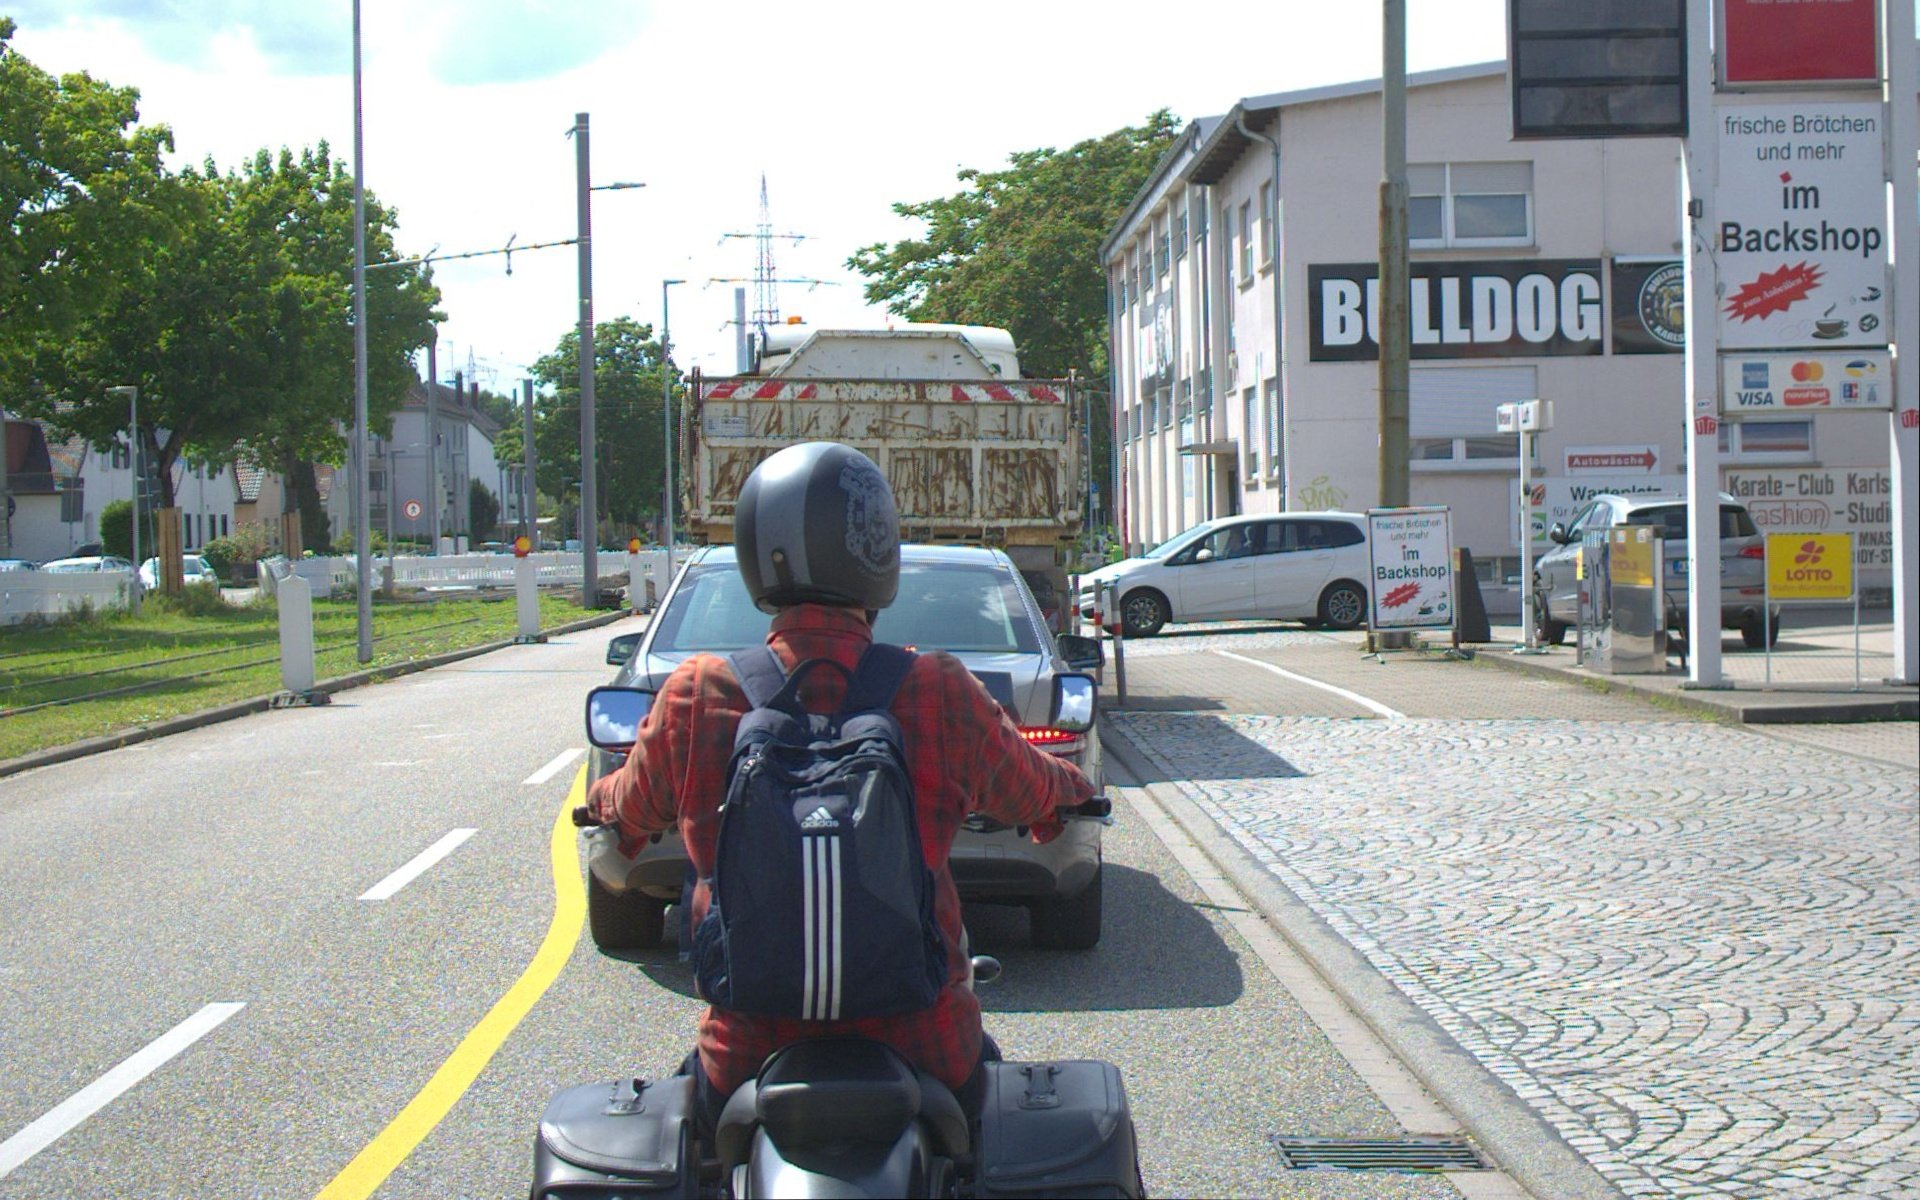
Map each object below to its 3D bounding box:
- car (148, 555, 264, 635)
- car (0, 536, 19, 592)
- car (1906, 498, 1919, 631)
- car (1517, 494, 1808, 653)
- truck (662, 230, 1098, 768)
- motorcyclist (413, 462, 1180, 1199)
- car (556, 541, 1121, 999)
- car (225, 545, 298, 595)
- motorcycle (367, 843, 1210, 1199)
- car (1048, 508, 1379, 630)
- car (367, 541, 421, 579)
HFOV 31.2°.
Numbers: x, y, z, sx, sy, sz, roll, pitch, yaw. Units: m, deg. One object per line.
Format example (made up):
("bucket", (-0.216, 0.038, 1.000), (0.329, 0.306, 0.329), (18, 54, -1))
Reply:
("car", (-17.497, -0.138, 79.964), (1.776, 1.717, 4.128), (-1, 1, 0))
("car", (-30.047, -1.072, 104.408), (1.776, 1.717, 4.128), (-1, 1, 0))
("car", (11.737, -0.385, 37.096), (1.806, 1.498, 3.834), (-1, 1, -3))
("car", (7.382, -0.309, 36.526), (1.667, 1.557, 4.245), (-1, 1, -8))
("truck", (-0.539, -0.715, 25.368), (2.638, 3.285, 8.057), (-1, 1, -1))
("motorcyclist", (-0.211, 0.616, 5.032), (0.979, 1.597, 1.088), (-1, 1, -1))
("car", (-0.419, 0.523, 13.226), (1.823, 1.447, 4.000), (1, 1, -1))
("car", (-25.422, -1.114, 125.245), (1.776, 1.717, 4.128), (-1, 1, 0))
("motorcycle", (-0.207, 0.958, 5.344), (0.979, 0.894, 2.653), (-1, 1, -1))
("car", (3.447, -0.439, 47.030), (4.229, 1.537, 1.673), (-1, 1, -8))
("car", (-26.443, -1.873, 160.664), (1.776, 1.717, 4.250), (-1, 1, 0))
